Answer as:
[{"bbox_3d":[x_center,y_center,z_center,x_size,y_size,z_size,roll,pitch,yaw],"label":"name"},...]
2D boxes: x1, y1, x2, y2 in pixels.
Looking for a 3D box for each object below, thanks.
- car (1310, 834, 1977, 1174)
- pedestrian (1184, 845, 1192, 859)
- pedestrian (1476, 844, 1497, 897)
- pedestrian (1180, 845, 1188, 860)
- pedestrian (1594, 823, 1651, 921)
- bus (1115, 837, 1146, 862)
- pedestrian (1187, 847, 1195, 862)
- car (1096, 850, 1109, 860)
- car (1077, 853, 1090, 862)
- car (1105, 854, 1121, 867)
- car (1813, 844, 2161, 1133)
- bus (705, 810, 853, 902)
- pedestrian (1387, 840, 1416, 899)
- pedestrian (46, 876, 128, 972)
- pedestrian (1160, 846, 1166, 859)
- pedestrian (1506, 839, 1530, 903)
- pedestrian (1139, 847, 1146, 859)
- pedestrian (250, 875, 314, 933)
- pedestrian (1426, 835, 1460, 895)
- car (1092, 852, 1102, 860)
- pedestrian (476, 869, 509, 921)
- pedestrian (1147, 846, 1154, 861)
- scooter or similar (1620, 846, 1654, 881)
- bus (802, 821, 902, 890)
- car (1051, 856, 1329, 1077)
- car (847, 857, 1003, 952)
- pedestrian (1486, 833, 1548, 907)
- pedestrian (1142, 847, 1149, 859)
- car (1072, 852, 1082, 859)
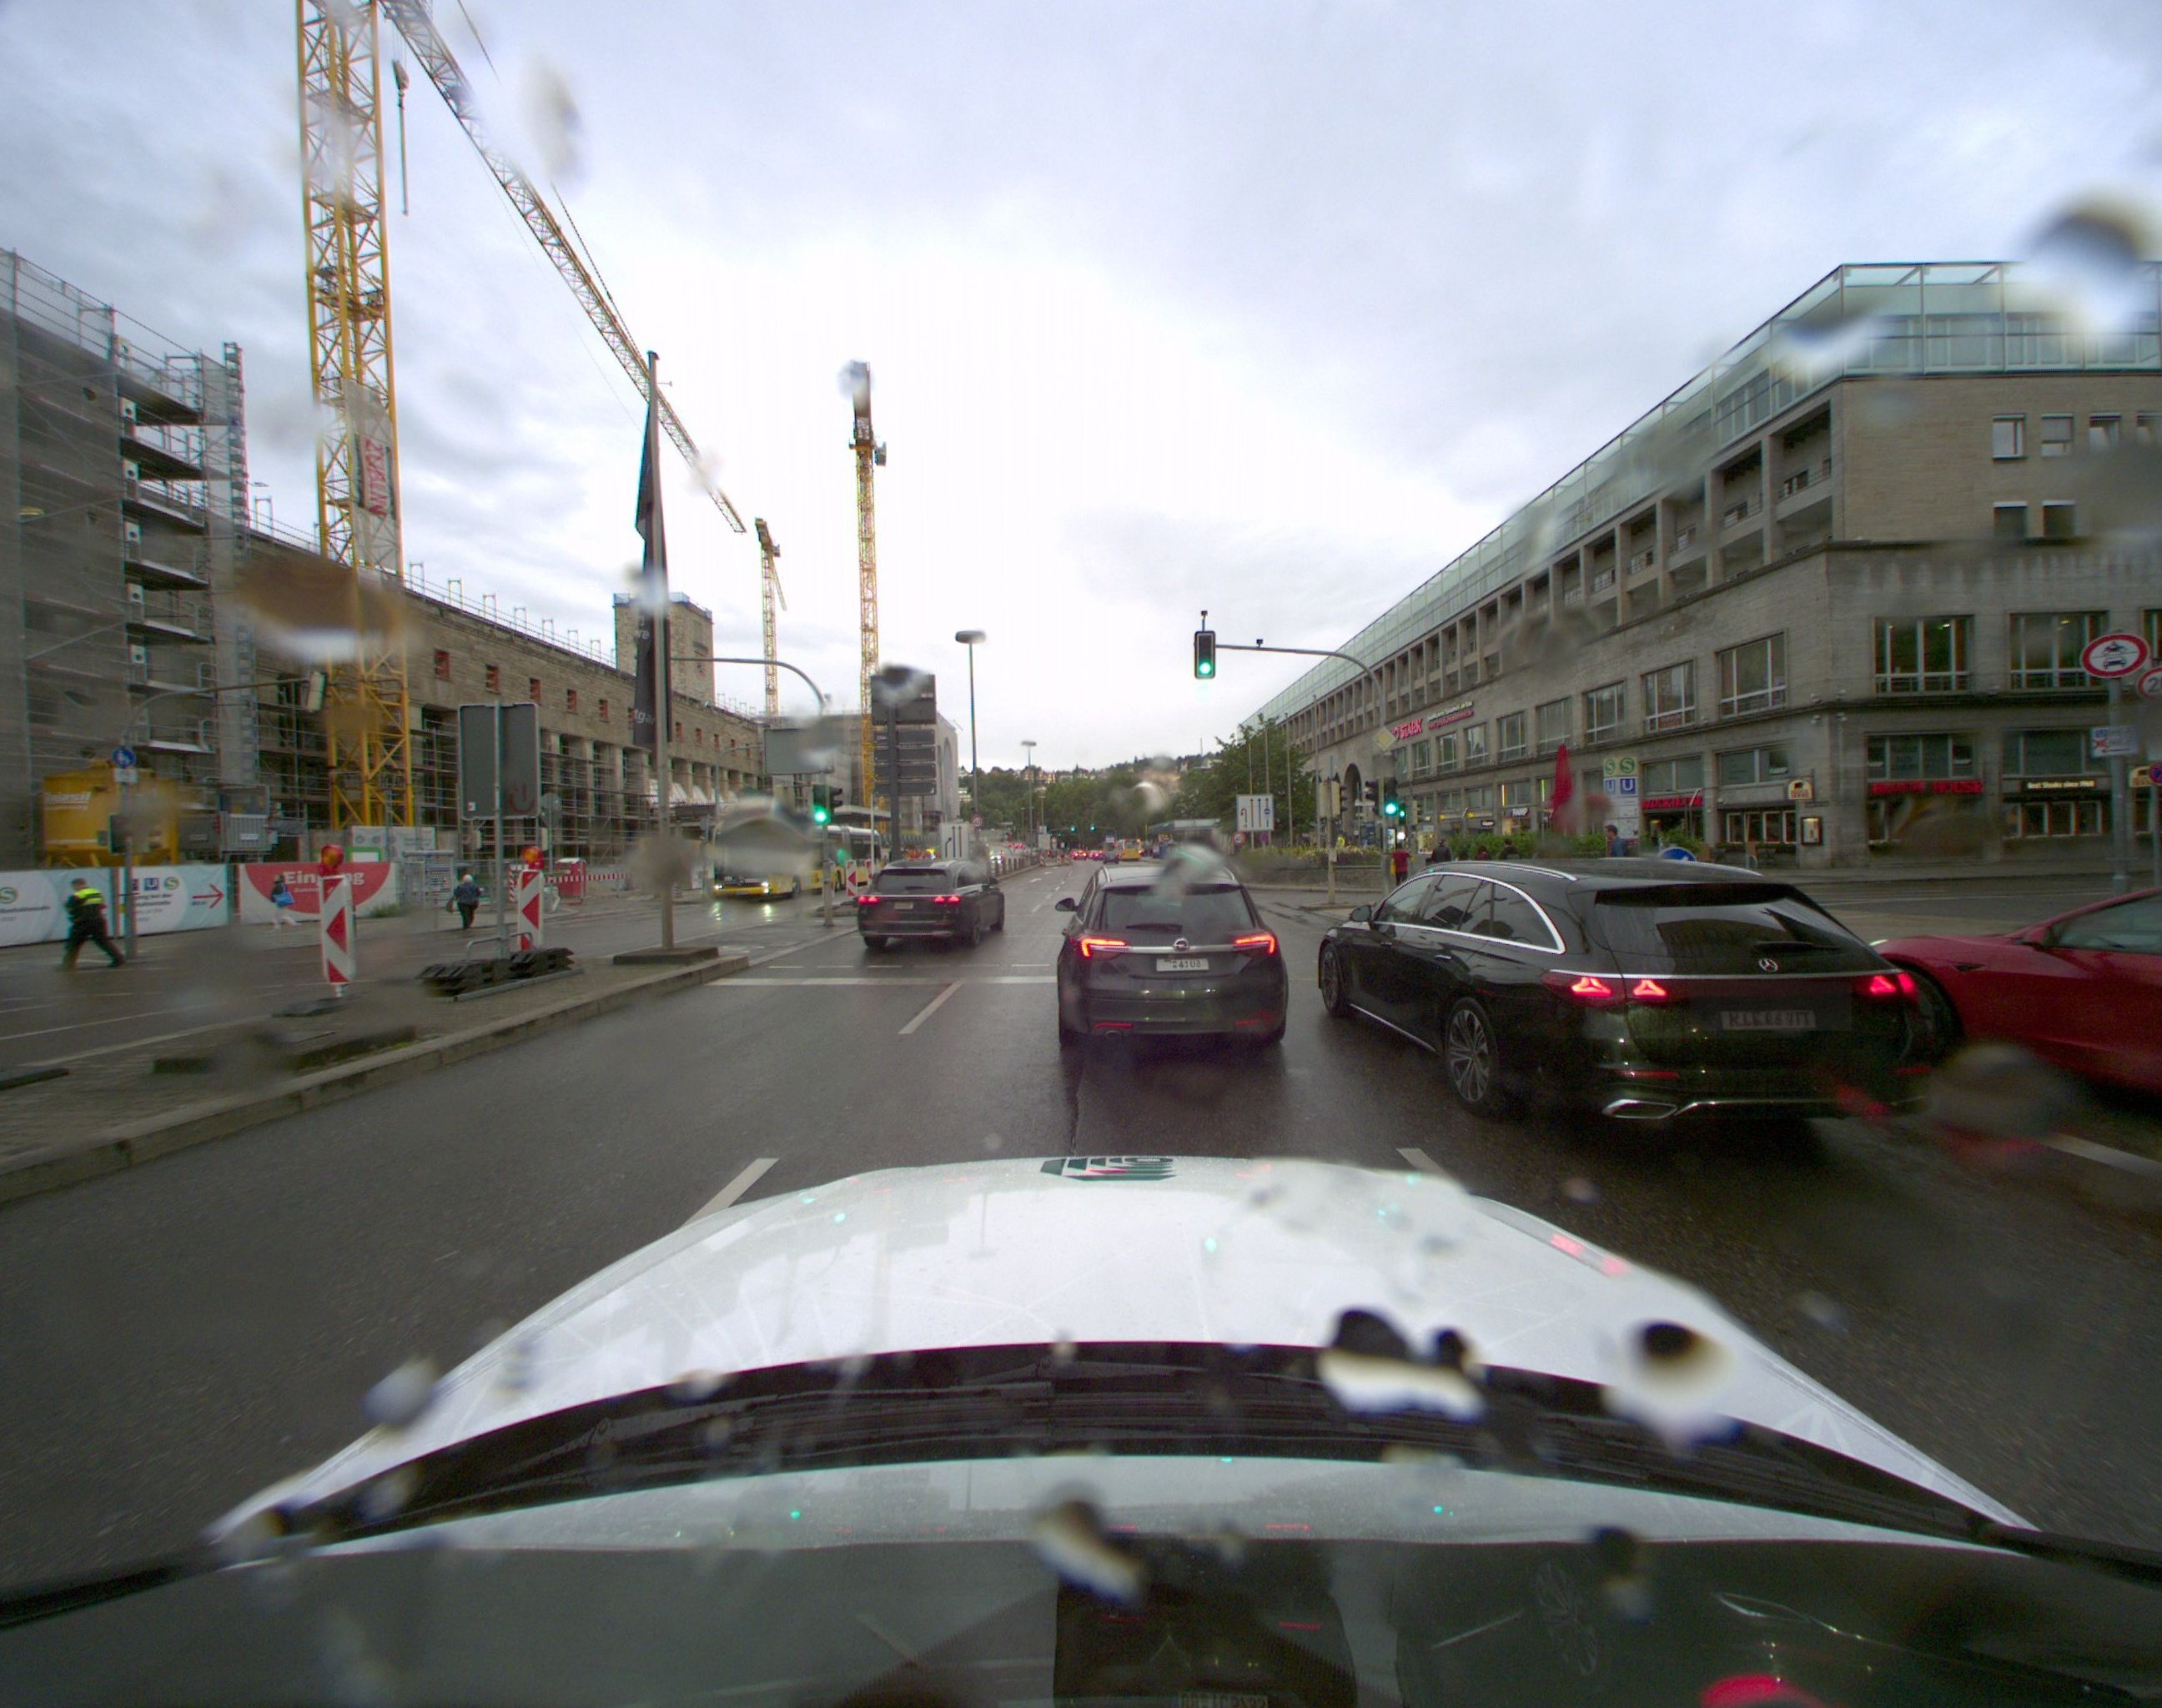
[{"bbox_3d":[3.143,0.688,5.936,1.786,1.501,4.630,0,-1,2],"label":"car"},{"bbox_3d":[12.311,-0.228,93.358,0.761,1.690,0.824,0,-1,-3],"label":"pedestrian"},{"bbox_3d":[11.603,0.470,23.315,0.460,1.517,0.453,-1,-1,35],"label":"pedestrian"},{"bbox_3d":[11.963,-0.157,94.587,0.761,1.690,0.824,0,-1,-3],"label":"pedestrian"},{"bbox_3d":[9.946,0.323,14.959,0.770,1.756,0.507,-1,-1,45],"label":"pedestrian"},{"bbox_3d":[7.132,-0.532,120.123,4.158,3.469,14.659,0,-1,2],"label":"bus"},{"bbox_3d":[11.767,0.053,87.065,0.761,1.690,0.824,0,-1,-3],"label":"pedestrian"},{"bbox_3d":[3.182,0.174,121.817,1.748,1.398,4.646,0,-1,-1],"label":"car"},{"bbox_3d":[0.386,0.549,127.804,1.839,1.398,3.565,0,-1,2],"label":"car"},{"bbox_3d":[3.729,0.749,94.270,1.839,1.398,3.668,0,-1,2],"label":"car"},{"bbox_3d":[6.491,0.685,3.960,1.868,1.486,4.527,0,-1,1],"label":"car"},{"bbox_3d":[-13.411,0.127,37.383,2.658,3.602,10.243,0,-1,2],"label":"bus"},{"bbox_3d":[9.610,0.457,24.403,0.563,1.752,0.684,-1,-1,44],"label":"pedestrian"},{"bbox_3d":[-19.677,1.369,16.137,0.576,1.836,0.820,0,-1,2],"label":"pedestrian"},{"bbox_3d":[10.933,-0.223,108.590,0.655,1.690,0.609,0,-1,2],"label":"pedestrian"},{"bbox_3d":[12.370,0.475,23.038,0.477,1.751,0.670,-4,-1,30],"label":"pedestrian"},{"bbox_3d":[11.623,-0.228,153.554,1.194,2.149,1.229,0,-1,3],"label":"pedestrian"},{"bbox_3d":[-22.636,1.400,23.085,0.912,1.563,0.899,0,-1,-2],"label":"pedestrian"},{"bbox_3d":[10.643,0.322,23.947,0.753,1.717,0.466,0,-1,-2],"label":"pedestrian"},{"bbox_3d":[2.860,0.312,144.495,1.839,1.398,3.565,0,0,2],"label":"car"},{"bbox_3d":[-18.062,1.248,25.015,0.790,1.561,0.866,0,-1,-36],"label":"pedestrian"},{"bbox_3d":[11.011,-0.036,128.987,1.194,2.435,1.229,0,-1,3],"label":"pedestrian"},{"bbox_3d":[19.332,0.341,28.311,0.290,1.189,1.014,0,-1,-17],"label":"scooter or similar"},{"bbox_3d":[-13.090,0.136,47.664,2.658,3.602,10.215,0,-1,2],"label":"bus"},{"bbox_3d":[0.783,0.783,7.515,1.868,1.486,4.001,0,-1,1],"label":"car"},{"bbox_3d":[-2.640,0.803,14.922,1.848,1.469,4.588,0,-1,2],"label":"car"},{"bbox_3d":[10.808,0.387,20.197,1.093,1.751,0.653,-3,-1,-1],"label":"pedestrian"},{"bbox_3d":[11.365,-0.189,142.663,1.194,2.149,1.229,0,-1,3],"label":"pedestrian"},{"bbox_3d":[-0.742,0.339,155.377,1.752,1.398,3.565,0,-1,2],"label":"car"}]
